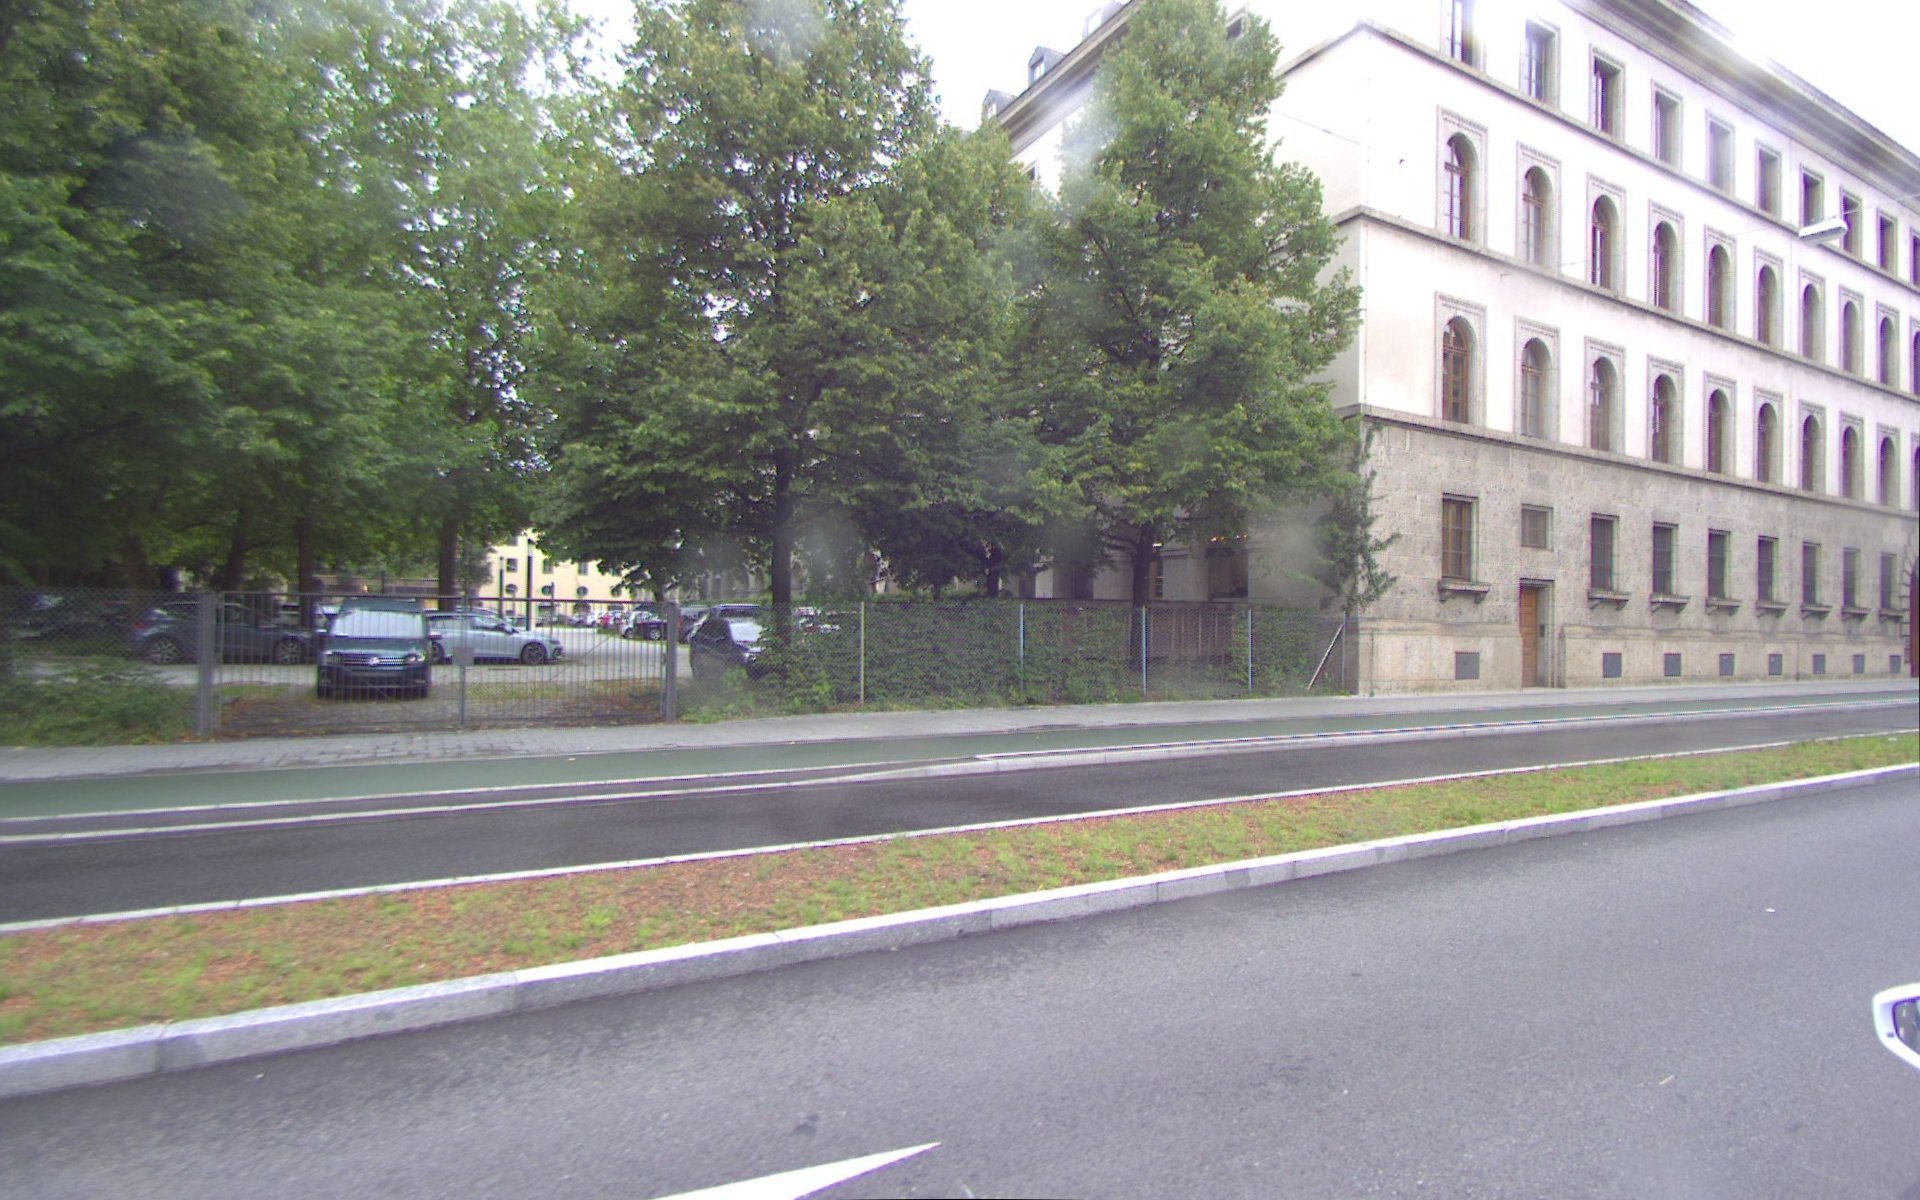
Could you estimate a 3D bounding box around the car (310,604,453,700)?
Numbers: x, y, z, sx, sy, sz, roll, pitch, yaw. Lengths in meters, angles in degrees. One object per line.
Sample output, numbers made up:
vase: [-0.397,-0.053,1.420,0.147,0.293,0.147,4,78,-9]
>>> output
car: [-10.882,0.938,19.173,1.779,1.610,4.138,1,-2,-22]

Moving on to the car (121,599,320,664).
car: [-18.878,0.814,25.887,3.955,1.564,1.761,2,-1,-32]

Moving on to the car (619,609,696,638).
car: [-17.424,1.357,57.912,3.953,1.564,1.762,2,-1,-30]

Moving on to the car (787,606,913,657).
car: [-3.766,1.099,34.478,3.953,1.662,1.657,2,-1,-30]

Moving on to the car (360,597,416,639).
car: [-24.786,0.779,43.471,1.978,1.742,3.966,2,-1,-32]

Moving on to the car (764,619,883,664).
car: [-4.965,1.521,36.747,3.953,1.564,1.762,2,-1,-30]

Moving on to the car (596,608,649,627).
car: [-28.399,1.473,84.522,3.953,1.564,1.762,2,-1,-30]

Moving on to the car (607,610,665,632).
car: [-24.843,1.611,77.084,3.953,1.564,1.762,2,-1,-30]

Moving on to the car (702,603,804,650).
car: [-8.886,1.157,43.216,3.948,1.954,1.838,2,-1,-27]

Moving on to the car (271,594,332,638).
car: [-27.343,0.680,41.820,1.978,1.742,3.966,2,-1,-32]

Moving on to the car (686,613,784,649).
car: [-10.146,1.417,45.282,3.953,1.564,1.762,2,-1,-30]

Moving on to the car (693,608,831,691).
car: [-4.514,1.048,22.415,1.783,1.671,4.244,1,-2,-29]

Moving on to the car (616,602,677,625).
car: [-22.978,1.003,73.579,3.953,1.564,1.762,2,-1,-30]

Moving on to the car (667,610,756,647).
car: [-12.277,1.437,49.701,3.953,1.755,1.762,2,-1,-30]

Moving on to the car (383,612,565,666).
car: [-13.934,1.112,28.871,4.579,1.460,1.984,2,-1,-30]

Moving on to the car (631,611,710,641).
car: [-16.096,1.444,55.905,3.953,1.564,1.762,2,-1,-30]

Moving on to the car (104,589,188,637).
car: [-31.346,0.518,38.787,1.978,1.742,3.966,2,-1,-32]
